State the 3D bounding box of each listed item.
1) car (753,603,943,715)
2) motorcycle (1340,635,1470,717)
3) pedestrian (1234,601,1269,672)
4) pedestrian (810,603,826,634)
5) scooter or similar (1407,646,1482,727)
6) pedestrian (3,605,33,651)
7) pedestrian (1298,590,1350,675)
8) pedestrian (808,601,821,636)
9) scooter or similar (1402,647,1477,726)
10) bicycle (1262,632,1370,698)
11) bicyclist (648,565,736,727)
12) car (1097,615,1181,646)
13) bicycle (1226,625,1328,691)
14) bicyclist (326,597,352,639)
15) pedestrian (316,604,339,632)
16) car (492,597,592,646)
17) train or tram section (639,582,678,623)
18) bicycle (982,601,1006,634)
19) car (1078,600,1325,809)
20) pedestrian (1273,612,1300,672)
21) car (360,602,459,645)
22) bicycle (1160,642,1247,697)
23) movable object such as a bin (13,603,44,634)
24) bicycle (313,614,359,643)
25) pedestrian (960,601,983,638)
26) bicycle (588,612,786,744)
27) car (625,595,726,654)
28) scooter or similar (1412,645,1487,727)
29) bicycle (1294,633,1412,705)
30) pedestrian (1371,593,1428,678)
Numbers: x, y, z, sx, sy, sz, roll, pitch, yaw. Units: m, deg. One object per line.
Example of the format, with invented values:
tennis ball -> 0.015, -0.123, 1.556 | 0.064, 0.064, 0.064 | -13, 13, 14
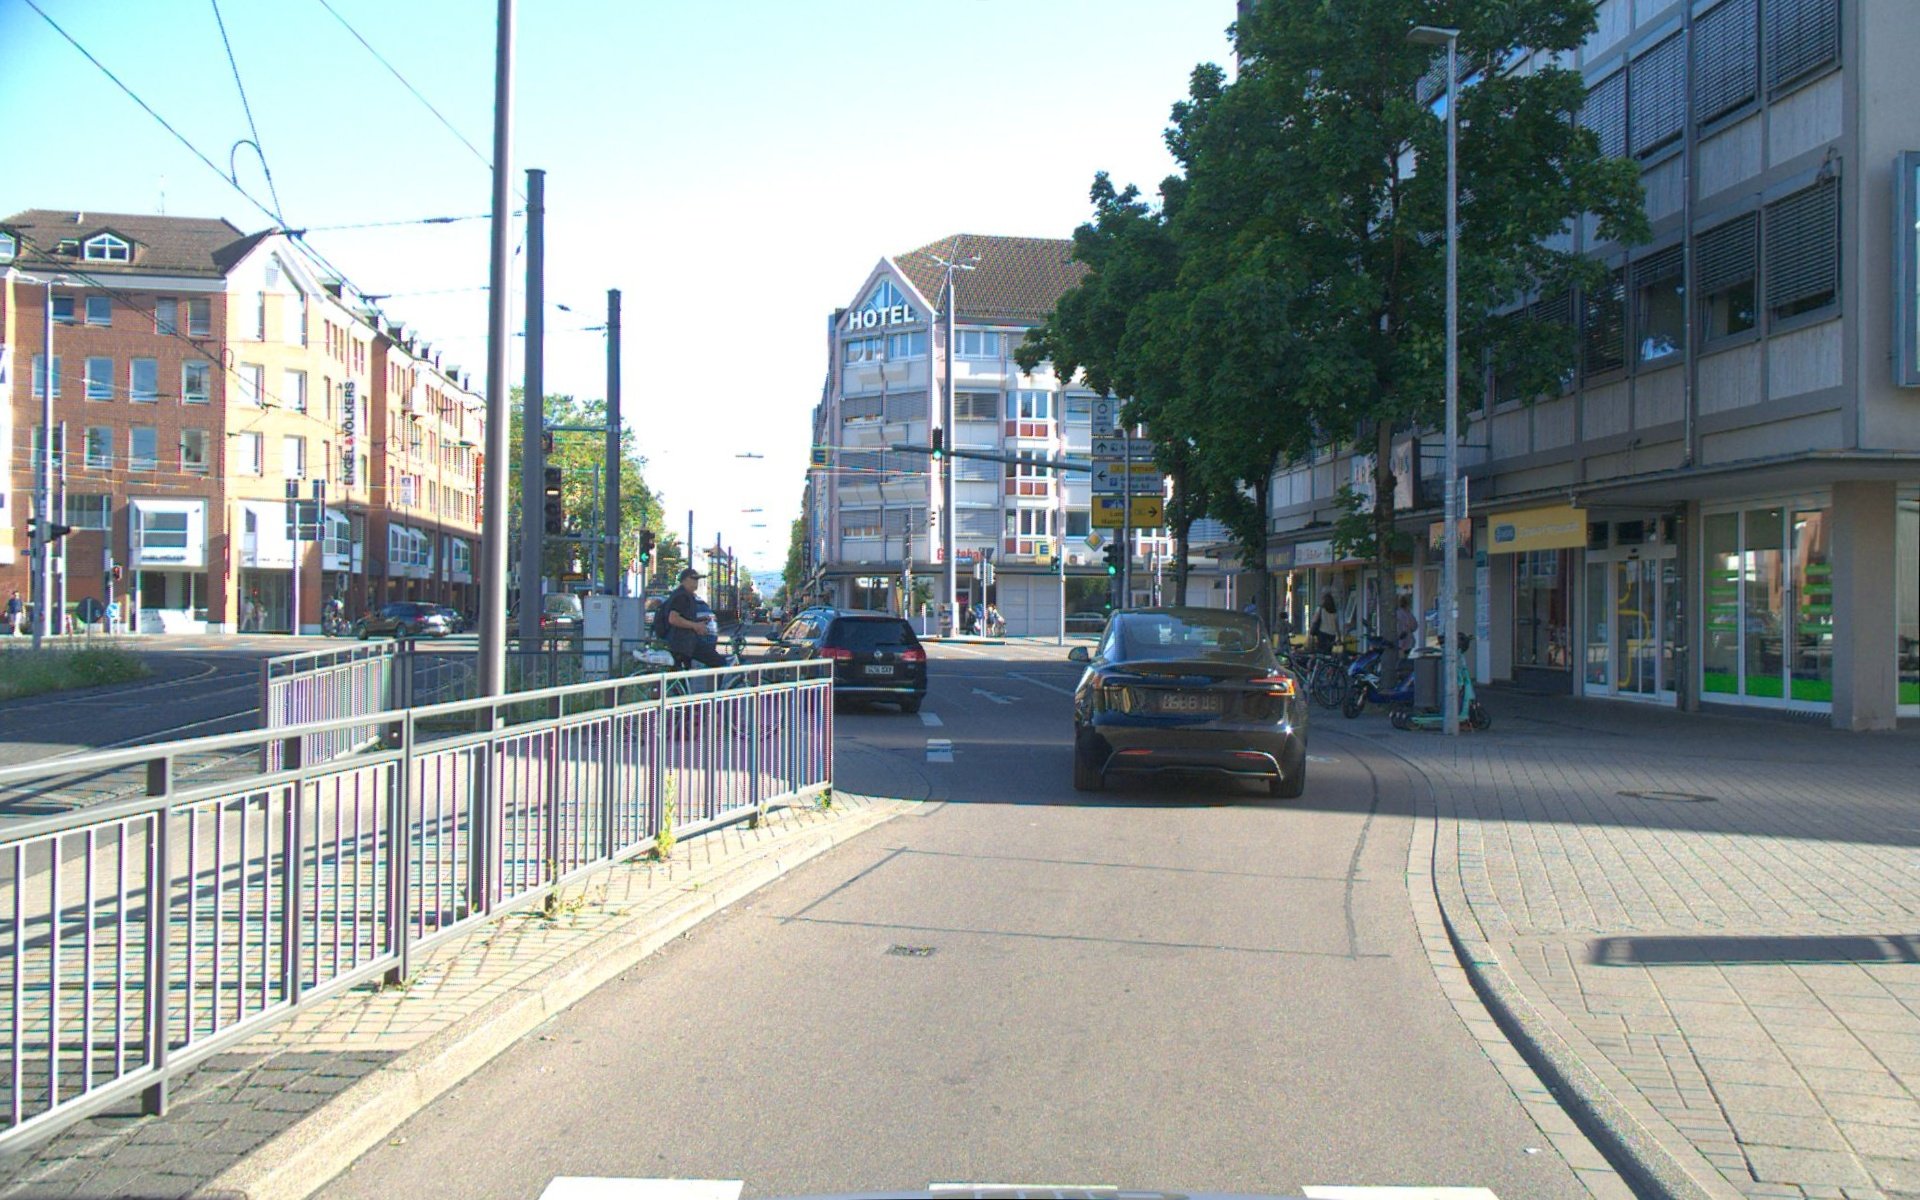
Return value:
car -> -1.759, 0.797, 24.432 | 1.737, 1.469, 4.505 | 1, 0, -18
motorcycle -> 6.430, 1.095, 23.936 | 1.753, 1.149, 0.503 | 1, -1, -7
pedestrian -> 7.281, 0.901, 41.355 | 0.825, 1.751, 0.880 | 1, -1, 8
pedestrian -> -8.472, 1.099, 98.588 | 0.897, 1.785, 0.838 | 1, -1, -5
scooter or similar -> 6.374, 1.131, 21.769 | 0.937, 1.057, 0.160 | 0, 0, -2
pedestrian -> -36.111, 1.081, 63.394 | 0.682, 1.740, 0.928 | 1, -1, -10
pedestrian -> 7.559, 0.676, 34.344 | 0.826, 1.737, 0.879 | 1, -1, -4
pedestrian -> -7.788, 0.989, 88.586 | 0.615, 1.814, 0.915 | 1, -1, -10
scooter or similar -> 6.367, 1.143, 21.969 | 0.944, 1.045, 0.160 | 0, 0, -2
bicycle -> 6.033, 1.101, 28.055 | 1.730, 1.075, 0.458 | 1, -1, 1
bicyclist -> -2.630, 0.446, 16.229 | 0.673, 1.550, 0.629 | 1, -1, -28
car -> 8.807, 1.495, 81.371 | 3.770, 1.457, 1.799 | 1, -3, -10
bicycle -> 5.742, 1.049, 30.010 | 1.776, 1.172, 0.434 | 0, -1, -9
bicyclist -> -26.742, 0.770, 71.201 | 0.811, 1.803, 0.614 | 0, -1, 25
pedestrian -> -36.483, 1.012, 95.396 | 0.865, 1.596, 0.864 | 0, -1, 18
car -> -14.412, 0.727, 56.918 | 3.717, 1.646, 1.568 | 0, -1, 43
train or tram section -> -27.545, 0.303, 151.308 | 2.676, 3.604, 10.072 | 1, -1, -6
bicycle -> 1.518, 0.770, 74.118 | 0.573, 1.489, 1.676 | 0, 0, -19
car -> 1.946, 0.756, 13.944 | 1.752, 1.476, 3.942 | 1, 0, 6
pedestrian -> 8.111, 1.038, 41.089 | 0.631, 1.447, 0.621 | 1, -1, 11
car -> -21.040, 0.875, 63.219 | 3.397, 1.578, 1.728 | 0, -1, 29
bicycle -> 5.439, 1.551, 36.995 | 1.852, 1.177, 0.480 | -1, -1, -4
movable object such as a bin -> -43.936, 0.869, 78.010 | 0.979, 1.462, 1.092 | 1, -1, -13
bicycle -> -26.949, 1.235, 71.412 | 1.994, 1.245, 0.628 | 0, -1, 25
pedestrian -> 0.523, 0.862, 73.943 | 0.767, 1.604, 0.863 | 1, 0, -19
bicycle -> -2.664, 0.751, 16.204 | 1.799, 1.233, 0.636 | 1, -1, -29
car -> -8.395, 0.725, 48.688 | 1.820, 1.663, 3.450 | 1, -1, -31
scooter or similar -> 6.380, 1.116, 21.571 | 0.944, 1.061, 0.160 | 0, 0, -2
bicycle -> 6.180, 1.073, 26.012 | 1.819, 1.074, 0.397 | -1, -1, -16
pedestrian -> 8.587, 0.696, 32.341 | 0.826, 1.630, 0.879 | 1, -1, -4
